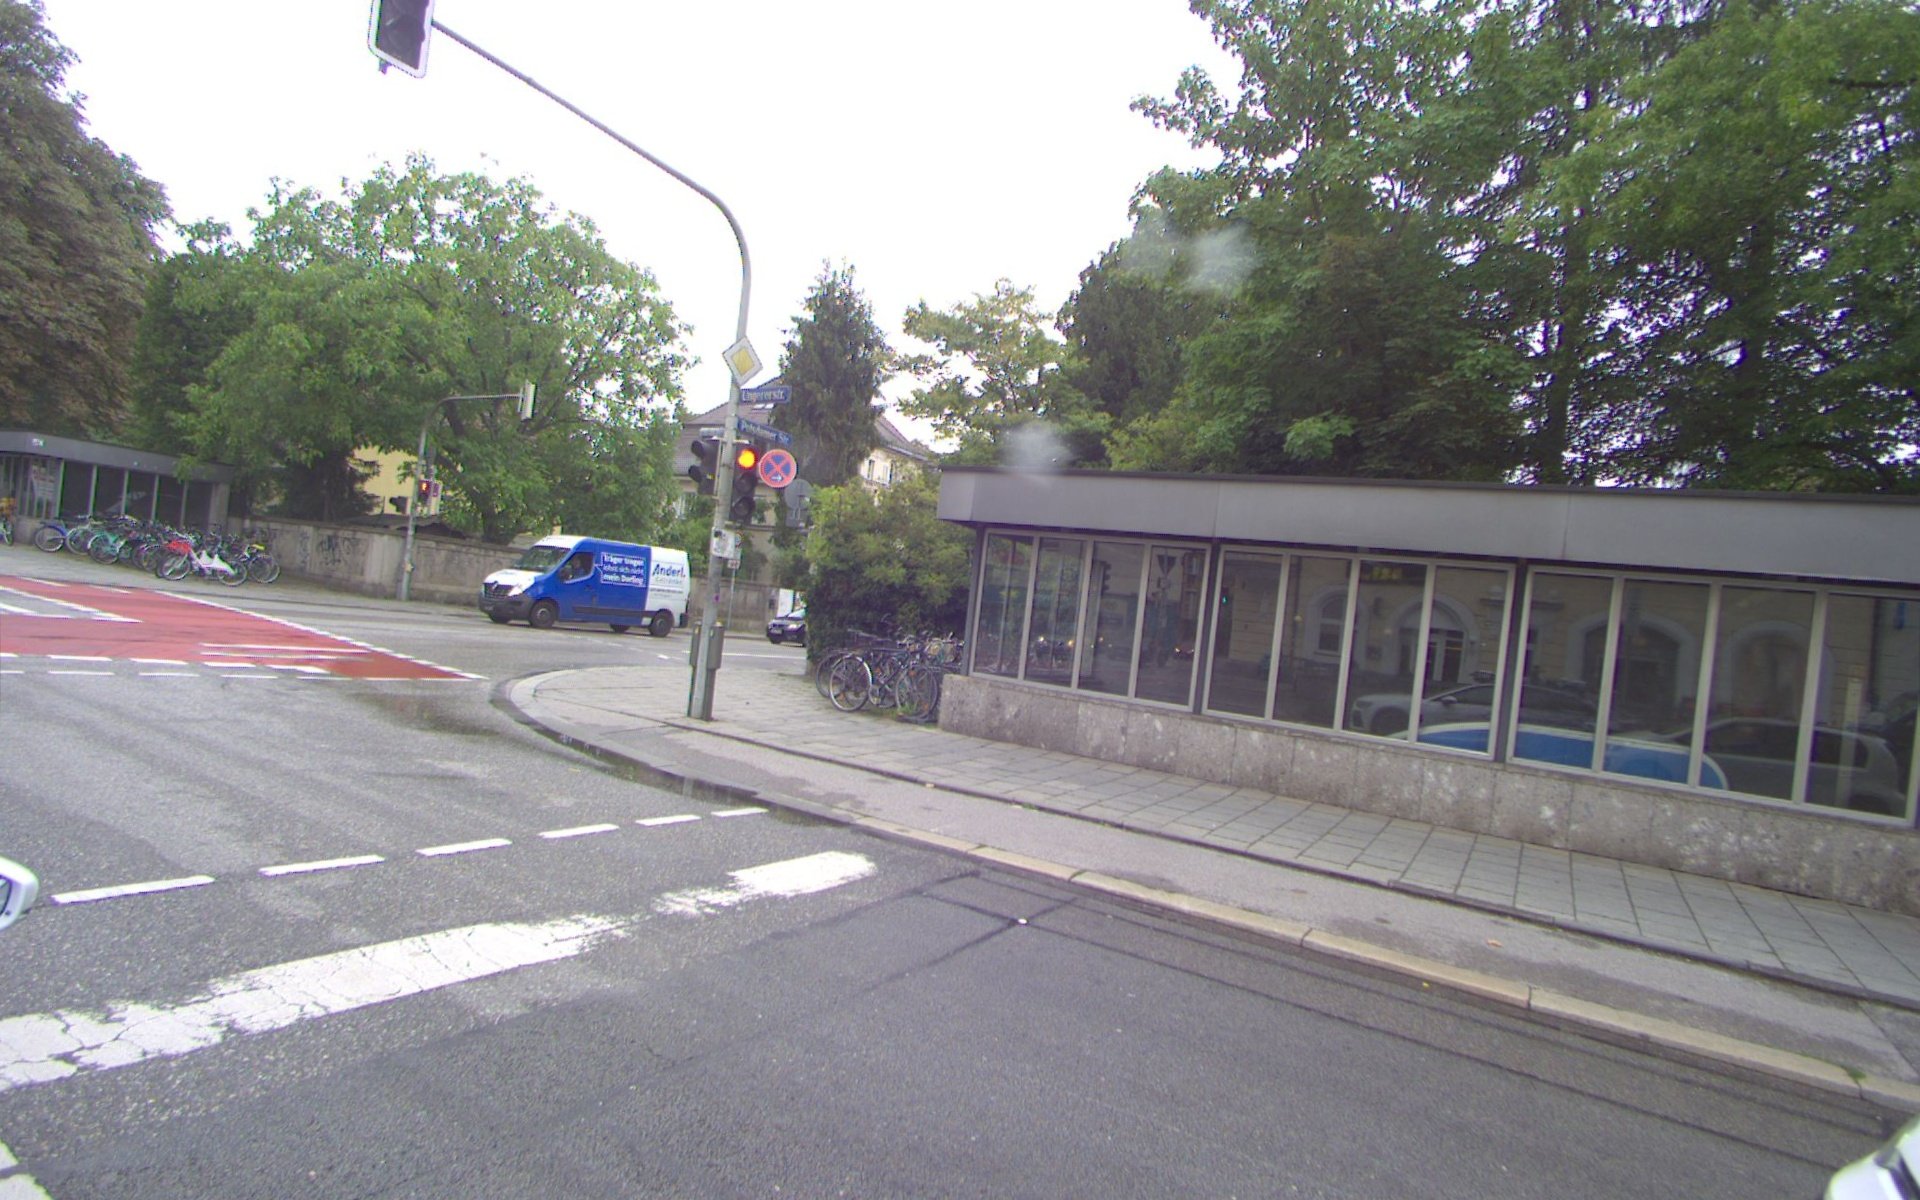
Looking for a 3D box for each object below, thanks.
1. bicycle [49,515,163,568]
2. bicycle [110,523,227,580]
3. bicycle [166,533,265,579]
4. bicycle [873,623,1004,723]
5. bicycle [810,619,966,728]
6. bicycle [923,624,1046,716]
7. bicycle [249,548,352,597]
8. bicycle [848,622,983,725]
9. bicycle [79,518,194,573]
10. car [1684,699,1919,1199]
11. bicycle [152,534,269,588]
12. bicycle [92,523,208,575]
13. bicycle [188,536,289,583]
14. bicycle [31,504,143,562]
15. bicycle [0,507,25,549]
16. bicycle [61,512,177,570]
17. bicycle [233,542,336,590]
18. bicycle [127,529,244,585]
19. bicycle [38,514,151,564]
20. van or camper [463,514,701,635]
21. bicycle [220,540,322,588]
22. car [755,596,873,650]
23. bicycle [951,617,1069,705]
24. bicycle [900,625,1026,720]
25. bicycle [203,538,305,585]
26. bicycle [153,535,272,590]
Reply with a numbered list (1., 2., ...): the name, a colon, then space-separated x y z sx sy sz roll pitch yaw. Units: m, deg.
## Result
1. bicycle: -22.300 -1.514 26.317 0.594 1.075 2.141 7 -1 39
2. bicycle: -19.730 -1.198 25.115 0.594 1.114 2.141 7 0 39
3. bicycle: -21.459 -1.261 29.031 0.625 1.026 2.141 7 -1 39
4. bicycle: -0.309 0.982 13.777 1.707 1.135 0.469 6 0 32
5. bicycle: -0.928 0.904 12.709 1.858 1.135 0.600 6 0 32
6. bicycle: 0.340 1.017 14.840 1.707 1.135 0.469 6 0 32
7. bicycle: -17.472 -0.725 26.703 0.625 1.026 2.141 7 -1 39
8. bicycle: -0.605 0.951 13.279 1.707 1.135 0.469 6 0 32
9. bicycle: -21.016 -1.378 25.714 0.594 1.099 2.141 7 0 39
10. car: 2.989 1.149 0.933 3.526 1.581 1.645 7 0 31
11. bicycle: -18.341 -0.935 24.671 0.625 1.026 2.141 7 -1 39
12. bicycle: -20.393 -1.270 25.373 0.594 1.026 2.141 7 -1 39
13. bicycle: -20.171 -1.128 28.167 0.625 1.026 2.141 7 -1 39
14. bicycle: -23.569 -1.790 27.205 0.594 1.233 2.141 7 0 39
15. bicycle: -26.316 -2.018 27.450 1.981 1.027 0.557 7 0 30
16. bicycle: -21.692 -1.506 25.981 0.594 1.192 2.141 7 0 39
17. bicycle: -18.150 -0.902 27.069 0.625 1.026 2.141 7 -1 39
18. bicycle: -19.123 -1.054 24.896 0.594 1.084 2.141 7 -1 39
19. bicycle: -23.017 -1.608 26.795 0.594 1.026 2.141 7 -1 39
20. van or camper: -9.812 -0.563 26.660 2.033 2.499 5.558 7 -1 33
21. bicycle: -18.787 -0.969 27.469 0.625 1.026 2.141 7 -1 39
22. car: -4.917 0.817 34.305 1.669 1.414 3.838 7 -1 37
23. bicycle: 0.756 0.927 15.487 1.707 1.135 0.469 6 0 32
24. bicycle: 0.030 1.014 14.326 1.707 1.135 0.469 6 0 32
25. bicycle: -19.490 -1.051 27.808 0.625 1.026 2.141 7 -1 39
26. bicycle: -17.926 -0.880 24.179 0.594 1.026 2.141 7 -1 39
